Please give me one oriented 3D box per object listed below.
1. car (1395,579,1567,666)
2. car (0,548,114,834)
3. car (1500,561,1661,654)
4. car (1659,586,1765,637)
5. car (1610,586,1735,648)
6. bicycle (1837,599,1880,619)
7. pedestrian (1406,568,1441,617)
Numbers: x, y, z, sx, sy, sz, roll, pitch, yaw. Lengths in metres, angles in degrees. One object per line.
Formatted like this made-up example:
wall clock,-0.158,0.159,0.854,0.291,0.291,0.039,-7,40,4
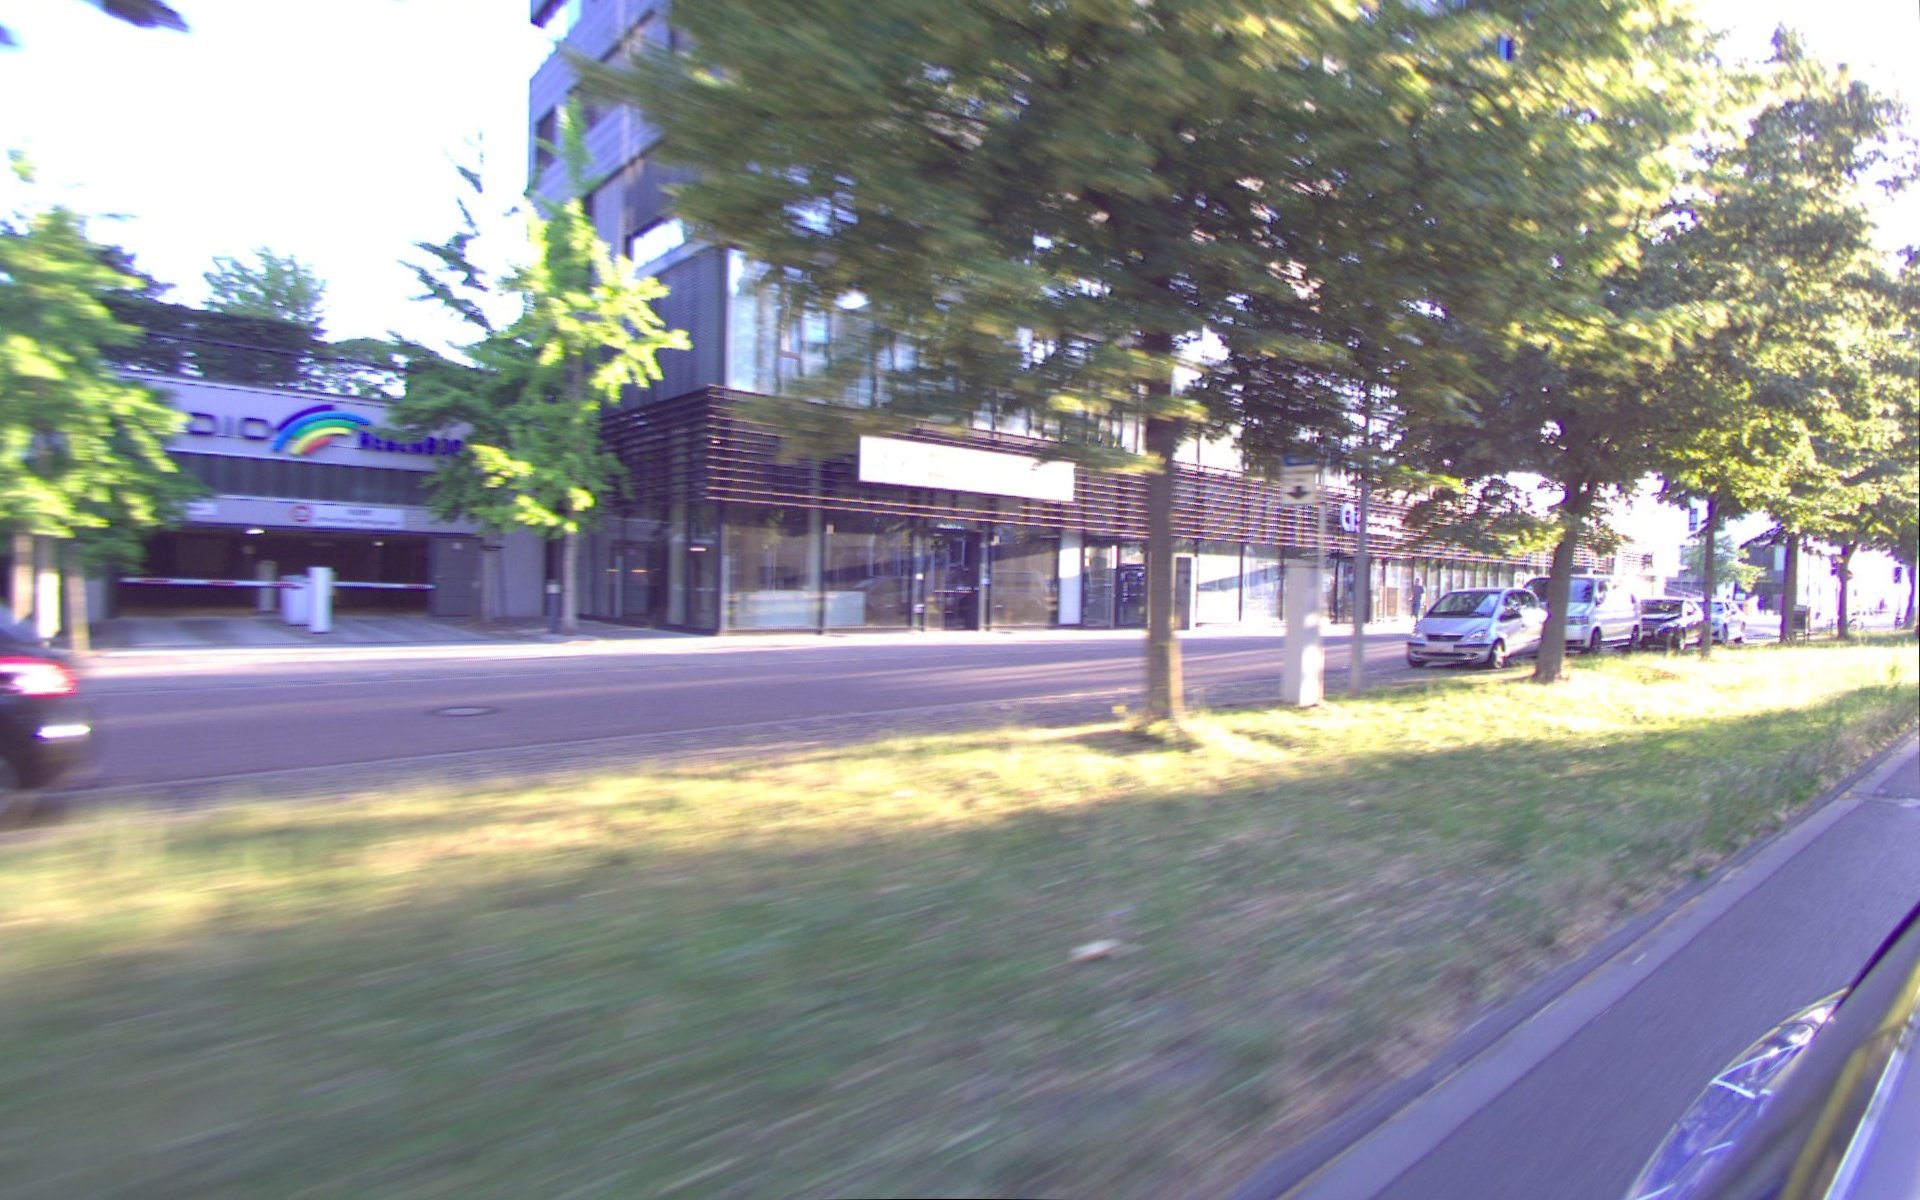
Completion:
car,10.658,0.392,20.607,3.992,1.590,1.841,0,1,-42
car,-6.799,0.508,5.057,3.930,1.513,1.783,0,-1,-41
car,14.931,0.138,24.233,4.847,2.014,1.989,0,1,-42
car,24.506,0.324,32.891,4.956,1.515,1.919,0,1,-43
car,20.017,0.407,28.383,4.215,1.515,1.863,-1,3,-41
bicycle,43.402,0.425,48.922,0.355,0.921,1.726,1,1,-8
pedestrian,17.480,-0.287,38.147,0.897,1.819,0.898,0,1,-42
